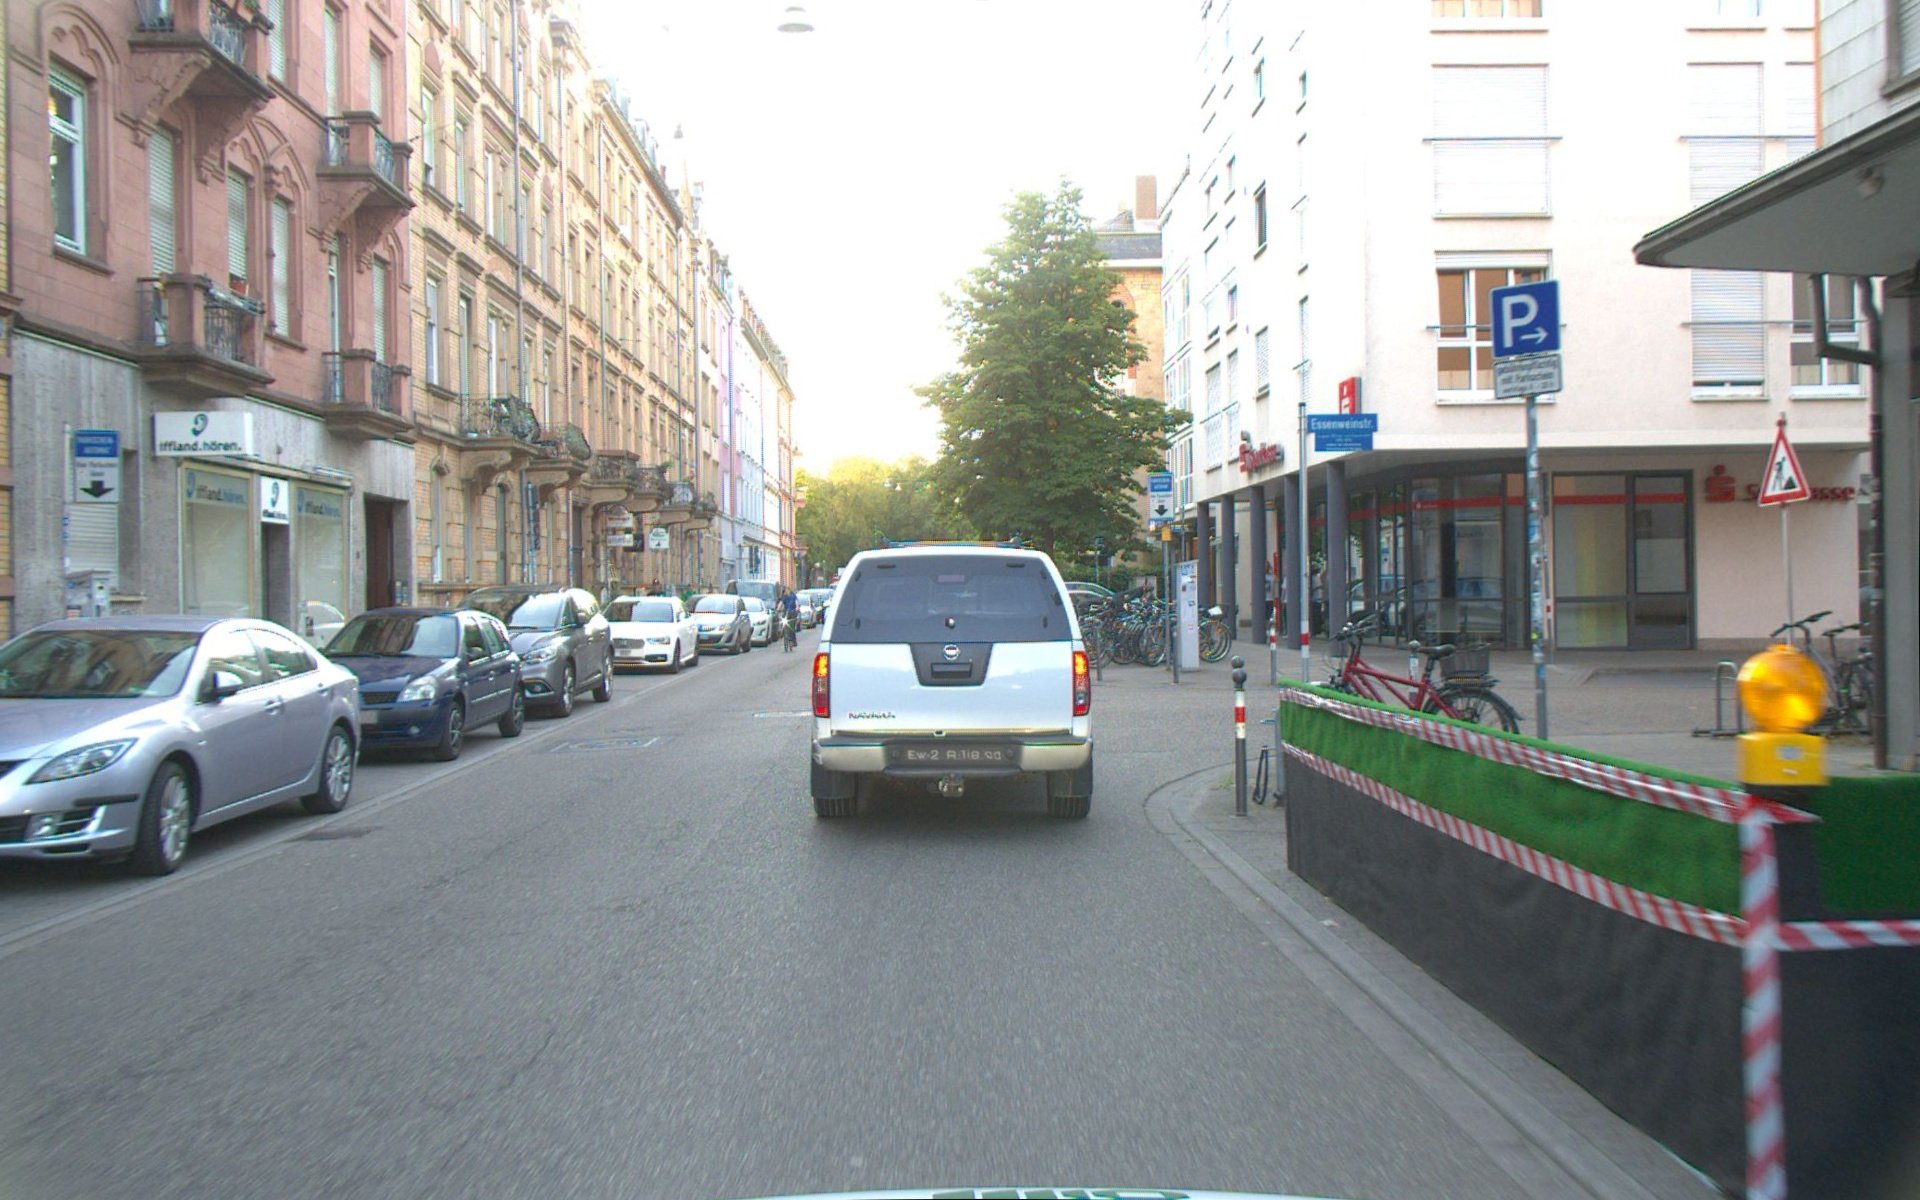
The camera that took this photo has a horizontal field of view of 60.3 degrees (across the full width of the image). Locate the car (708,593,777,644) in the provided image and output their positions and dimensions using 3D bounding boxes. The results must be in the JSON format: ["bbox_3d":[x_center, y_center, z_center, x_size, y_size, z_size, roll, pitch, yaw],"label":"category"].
[{"bbox_3d":[-6.514,0.533,49.905,1.748,1.447,4.482,1,0,-3],"label":"car"}]

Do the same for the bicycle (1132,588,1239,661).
[{"bbox_3d":[3.900,0.423,28.625,1.693,1.151,0.577,-3,0,-14],"label":"bicycle"}]

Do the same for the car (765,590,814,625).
[{"bbox_3d":[-7.535,0.318,73.531,1.797,1.483,4.205,2,0,-2],"label":"car"}]

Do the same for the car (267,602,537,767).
[{"bbox_3d":[-5.561,0.776,16.931,1.553,1.445,3.696,0,1,-1],"label":"car"}]

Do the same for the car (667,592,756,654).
[{"bbox_3d":[-6.294,0.549,42.199,1.682,1.483,4.000,1,0,-1],"label":"car"}]

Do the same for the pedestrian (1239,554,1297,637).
[{"bbox_3d":[6.715,-0.096,36.044,0.770,1.753,0.898,-5,2,-44],"label":"pedestrian"}]

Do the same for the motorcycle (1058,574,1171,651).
[{"bbox_3d":[3.519,0.289,37.844,2.440,1.576,0.824,-4,-1,1],"label":"motorcycle"}]

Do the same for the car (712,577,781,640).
[{"bbox_3d":[-7.026,0.264,54.922,1.954,1.957,4.947,1,0,-4],"label":"car"}]

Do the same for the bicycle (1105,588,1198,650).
[{"bbox_3d":[3.828,0.383,33.131,1.689,1.137,0.653,-3,0,-5],"label":"bicycle"}]

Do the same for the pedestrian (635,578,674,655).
[{"bbox_3d":[-7.268,0.394,39.380,0.542,1.786,1.023,-1,-1,12],"label":"pedestrian"}]

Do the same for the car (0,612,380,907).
[{"bbox_3d":[-5.311,0.819,10.606,1.688,1.445,4.580,0,0,-2],"label":"car"}]

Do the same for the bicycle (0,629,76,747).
[{"bbox_3d":[-9.082,0.826,15.638,0.440,1.040,1.847,2,0,-1],"label":"bicycle"}]

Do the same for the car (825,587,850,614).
[{"bbox_3d":[-9.289,0.048,125.380,1.776,2.011,4.181,1,0,-6],"label":"car"}]

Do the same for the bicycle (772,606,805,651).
[{"bbox_3d":[-4.503,0.743,43.571,0.632,1.099,2.168,-3,0,-1],"label":"bicycle"}]

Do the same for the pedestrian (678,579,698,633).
[{"bbox_3d":[-9.250,0.204,56.244,0.569,1.802,0.996,2,1,-6],"label":"pedestrian"}]

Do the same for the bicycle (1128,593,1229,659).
[{"bbox_3d":[3.907,0.464,29.651,1.687,1.072,0.654,-3,0,1],"label":"bicycle"}]

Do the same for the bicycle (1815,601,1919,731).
[{"bbox_3d":[8.313,0.560,14.708,0.551,1.085,1.757,-2,-1,3],"label":"bicycle"}]

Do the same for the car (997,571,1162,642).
[{"bbox_3d":[3.249,0.175,45.535,4.311,1.676,1.745,-3,0,-2],"label":"car"}]

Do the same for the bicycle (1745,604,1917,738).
[{"bbox_3d":[7.666,0.606,14.656,0.551,1.085,1.964,-2,-1,3],"label":"bicycle"}]

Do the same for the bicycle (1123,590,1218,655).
[{"bbox_3d":[3.991,0.427,31.484,1.687,1.137,0.654,-3,0,1],"label":"bicycle"}]

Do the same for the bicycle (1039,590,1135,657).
[{"bbox_3d":[2.582,0.472,33.662,1.830,1.202,0.743,-5,-1,3],"label":"bicycle"}]

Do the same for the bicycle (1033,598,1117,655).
[{"bbox_3d":[2.428,0.562,35.040,1.684,1.049,0.667,-5,-1,1],"label":"bicycle"}]

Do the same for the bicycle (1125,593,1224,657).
[{"bbox_3d":[3.923,0.460,30.323,1.687,1.072,0.654,-3,0,1],"label":"bicycle"}]

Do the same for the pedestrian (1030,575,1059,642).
[{"bbox_3d":[2.240,0.223,43.995,0.615,1.784,0.586,0,-1,-13],"label":"pedestrian"}]

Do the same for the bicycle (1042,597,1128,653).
[{"bbox_3d":[2.687,0.538,35.655,1.736,1.040,0.565,-5,-1,1],"label":"bicycle"}]

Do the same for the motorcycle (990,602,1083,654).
[{"bbox_3d":[1.793,0.653,38.688,2.025,1.097,0.660,-3,0,-18],"label":"motorcycle"}]

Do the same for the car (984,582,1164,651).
[{"bbox_3d":[2.922,0.416,42.832,4.340,1.480,1.776,-3,0,-8],"label":"car"}]

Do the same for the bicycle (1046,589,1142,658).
[{"bbox_3d":[2.672,0.459,32.822,1.751,1.202,0.734,-5,-1,9],"label":"bicycle"}]

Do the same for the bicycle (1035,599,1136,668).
[{"bbox_3d":[2.262,0.593,29.855,1.688,1.137,0.706,-3,0,-4],"label":"bicycle"}]

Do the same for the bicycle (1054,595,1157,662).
[{"bbox_3d":[2.690,0.523,30.658,1.773,1.137,0.706,-3,0,-4],"label":"bicycle"}]

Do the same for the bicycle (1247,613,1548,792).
[{"bbox_3d":[3.071,0.722,11.710,1.906,1.154,0.655,-3,0,36],"label":"bicycle"}]

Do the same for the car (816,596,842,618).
[{"bbox_3d":[-8.811,0.439,111.313,1.665,1.451,4.018,1,0,-4],"label":"car"}]

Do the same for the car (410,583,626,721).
[{"bbox_3d":[-5.800,0.609,22.256,1.815,1.662,4.444,0,1,-2],"label":"car"}]

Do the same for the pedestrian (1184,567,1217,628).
[{"bbox_3d":[7.003,-0.070,48.167,0.712,1.746,0.963,-3,0,-2],"label":"pedestrian"}]

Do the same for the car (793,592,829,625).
[{"bbox_3d":[-7.994,0.443,89.078,1.808,1.688,4.248,-1,0,-5],"label":"car"}]

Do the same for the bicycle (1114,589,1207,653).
[{"bbox_3d":[3.869,0.408,32.050,1.687,1.137,0.654,-3,0,1],"label":"bicycle"}]

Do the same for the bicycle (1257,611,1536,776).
[{"bbox_3d":[3.317,0.717,12.660,1.906,1.154,0.655,-3,0,36],"label":"bicycle"}]

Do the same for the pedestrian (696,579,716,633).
[{"bbox_3d":[-8.668,0.190,56.505,0.593,1.803,0.776,2,1,-6],"label":"pedestrian"}]

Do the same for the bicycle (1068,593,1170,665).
[{"bbox_3d":[2.776,0.504,29.012,1.687,1.137,0.707,-3,0,1],"label":"bicycle"}]

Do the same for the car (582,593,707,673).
[{"bbox_3d":[-6.138,0.590,32.629,1.722,1.436,4.507,0,1,-2],"label":"car"}]

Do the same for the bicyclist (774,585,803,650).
[{"bbox_3d":[-4.514,0.456,43.594,0.632,1.649,0.918,-3,0,-1],"label":"bicyclist"}]

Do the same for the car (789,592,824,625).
[{"bbox_3d":[-7.668,0.408,82.788,1.603,1.593,3.779,0,0,-3],"label":"car"}]

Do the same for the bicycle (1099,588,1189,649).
[{"bbox_3d":[3.755,0.374,33.850,1.689,1.137,0.653,-3,0,-5],"label":"bicycle"}]

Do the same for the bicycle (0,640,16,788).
[{"bbox_3d":[-8.117,0.933,13.078,0.696,1.217,1.735,0,-1,-15],"label":"bicycle"}]

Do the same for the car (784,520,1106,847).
[{"bbox_3d":[0.092,0.460,12.277,1.870,1.885,5.273,0,0,4],"label":"car"}]

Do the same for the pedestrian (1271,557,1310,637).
[{"bbox_3d":[7.349,-0.069,36.765,0.649,1.753,0.662,-1,2,25],"label":"pedestrian"}]
